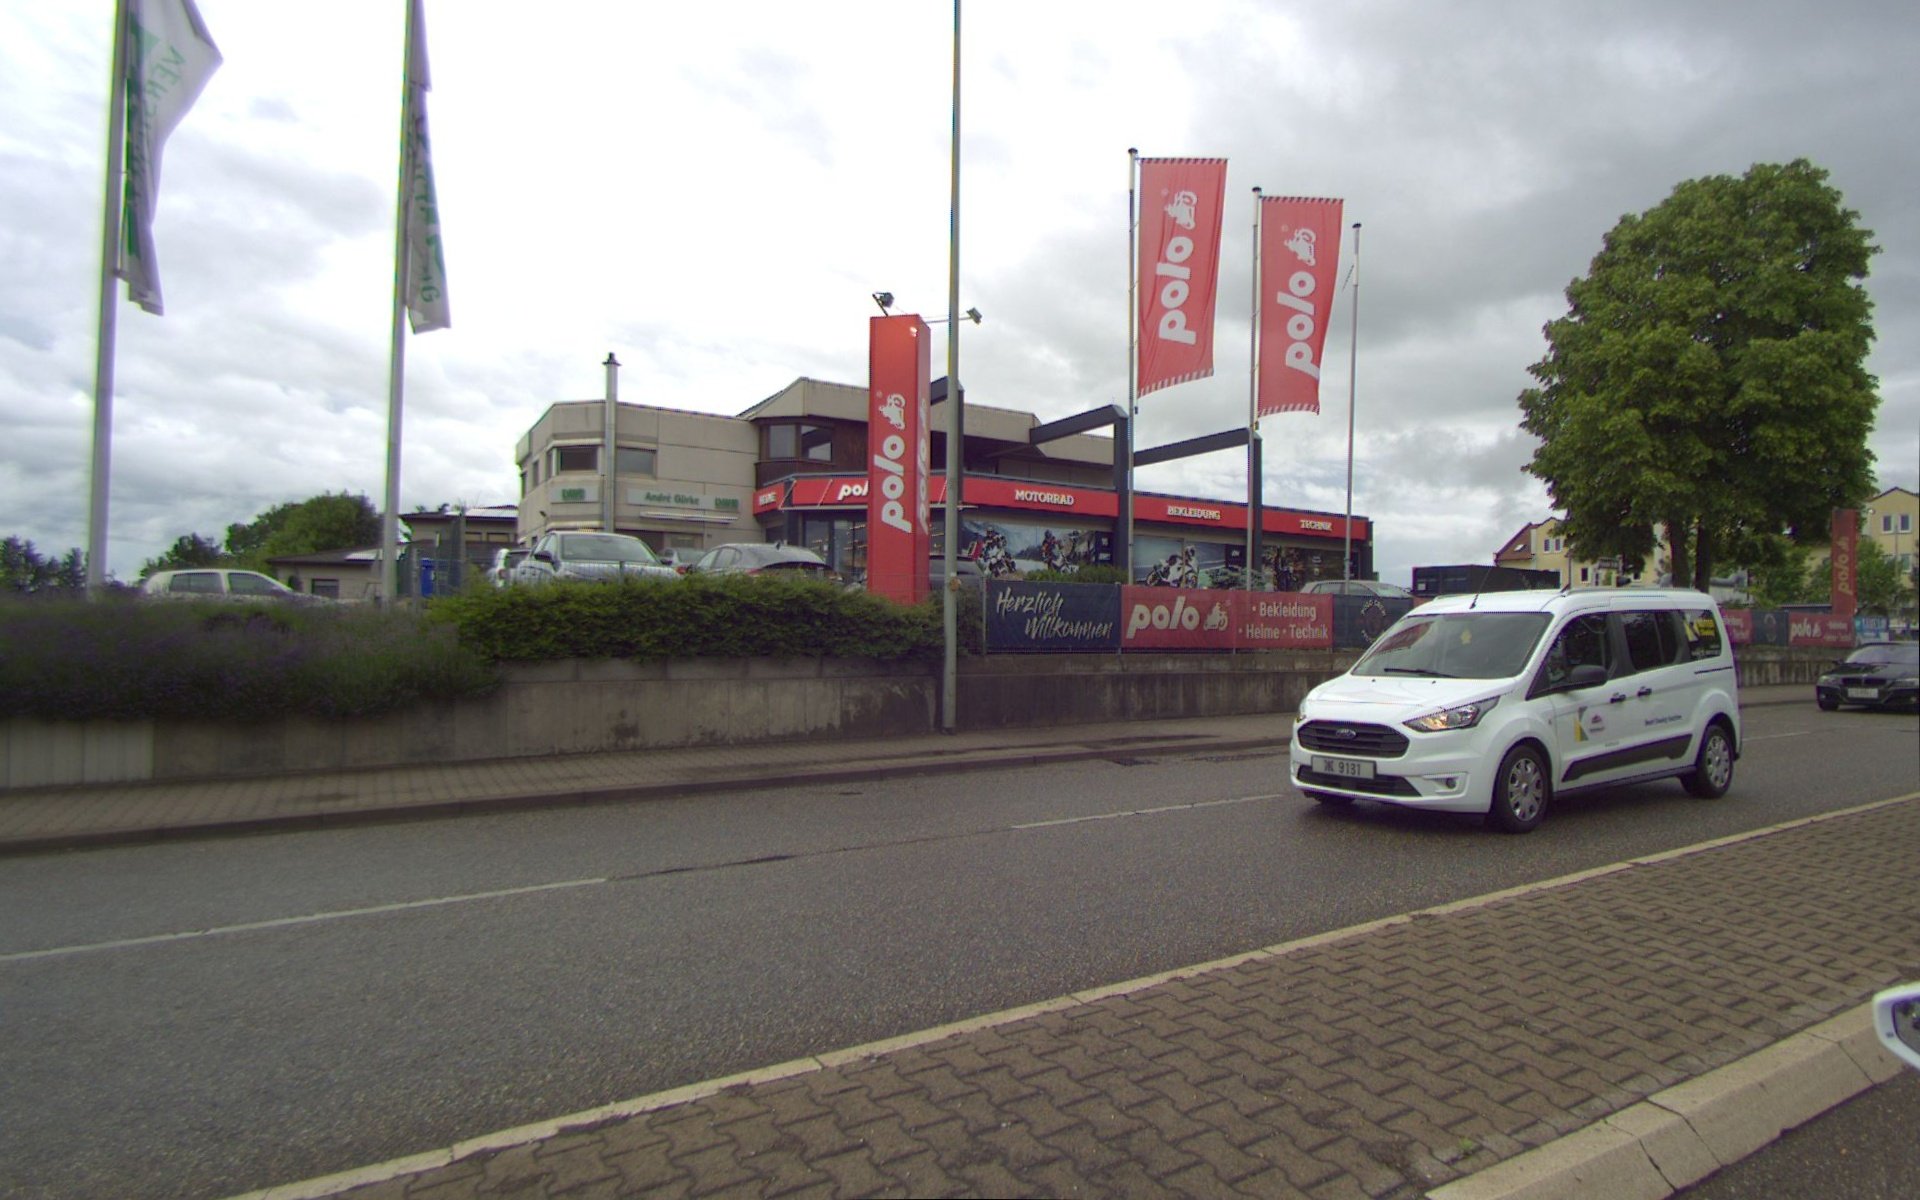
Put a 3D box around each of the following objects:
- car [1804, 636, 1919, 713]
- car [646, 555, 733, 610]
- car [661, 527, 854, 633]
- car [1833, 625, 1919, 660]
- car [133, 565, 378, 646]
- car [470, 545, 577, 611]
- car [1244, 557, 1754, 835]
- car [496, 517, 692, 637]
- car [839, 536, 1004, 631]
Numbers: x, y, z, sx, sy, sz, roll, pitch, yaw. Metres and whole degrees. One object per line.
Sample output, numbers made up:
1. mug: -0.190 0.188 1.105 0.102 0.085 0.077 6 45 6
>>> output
1. car: 19.107 1.456 20.495 4.024 1.400 1.660 1 -1 -31
2. car: -8.356 -0.472 30.790 1.850 1.532 3.976 0 -1 -26
3. car: -3.355 -0.241 16.191 1.725 1.502 3.622 1 -1 -36
4. car: 41.460 1.863 44.376 4.136 1.475 1.796 -1 -2 34
5. car: -14.328 0.151 20.739 3.955 1.532 1.667 1 -2 -30
6. car: -11.139 -0.486 25.513 1.855 1.502 3.803 0 -1 -34
7. car: 4.751 0.731 8.685 4.528 1.847 1.848 1 -3 -32
8. car: -5.434 -0.246 14.654 1.725 1.502 3.800 1 -1 -36
9. car: -0.775 -0.222 17.938 1.564 1.529 3.399 1 -1 -30
